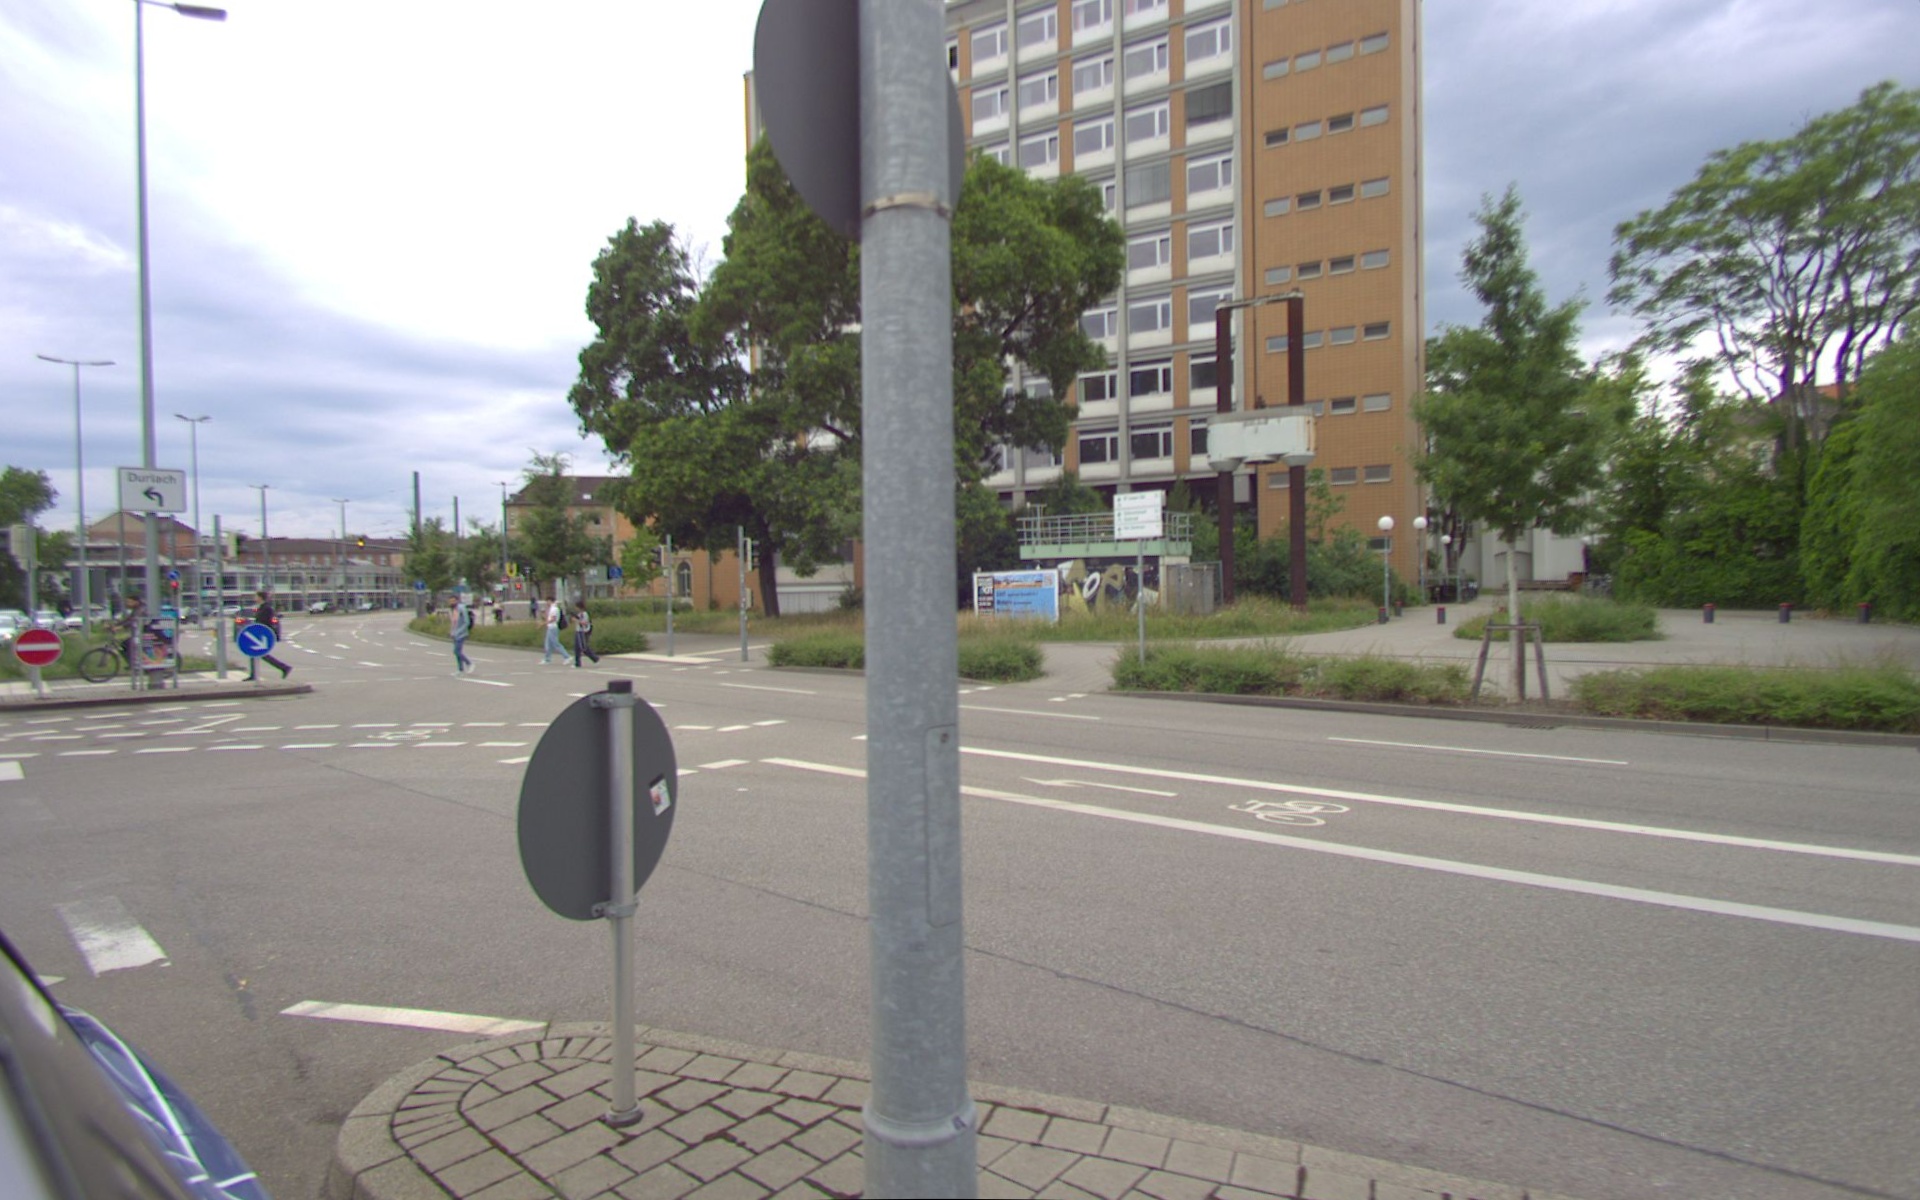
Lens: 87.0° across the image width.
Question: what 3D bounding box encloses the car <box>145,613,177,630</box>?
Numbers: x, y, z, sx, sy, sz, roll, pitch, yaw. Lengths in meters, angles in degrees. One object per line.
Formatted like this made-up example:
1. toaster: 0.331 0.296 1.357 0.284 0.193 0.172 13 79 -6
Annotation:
1. car: -76.097 2.033 96.414 1.583 1.608 3.771 0 -1 -25

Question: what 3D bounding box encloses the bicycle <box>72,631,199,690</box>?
1. bicycle: -17.561 1.268 21.594 0.805 1.151 1.981 -2 -1 37

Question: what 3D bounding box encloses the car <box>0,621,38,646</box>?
1. car: -59.519 2.102 63.376 1.789 1.486 4.045 0 -1 -29

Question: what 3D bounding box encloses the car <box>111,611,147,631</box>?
1. car: -72.381 1.836 88.208 1.583 1.608 3.771 0 -1 -25

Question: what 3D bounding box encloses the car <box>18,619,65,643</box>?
1. car: -63.996 2.171 70.565 1.775 1.608 3.770 0 -1 -32

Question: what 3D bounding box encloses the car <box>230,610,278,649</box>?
1. car: -33.386 1.348 47.904 1.787 1.679 3.959 0 0 -34

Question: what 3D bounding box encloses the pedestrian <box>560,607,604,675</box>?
1. pedestrian: -9.476 1.016 25.372 0.703 1.680 0.771 -1 -1 25

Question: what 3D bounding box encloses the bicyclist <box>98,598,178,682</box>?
1. bicyclist: -17.548 0.838 21.612 0.805 1.749 1.177 -2 -1 37

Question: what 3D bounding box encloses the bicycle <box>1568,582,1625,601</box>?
1. bicycle: 33.134 -0.436 52.708 2.347 0.946 0.843 -2 -1 44

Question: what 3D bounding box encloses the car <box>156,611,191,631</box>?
1. car: -68.413 1.828 88.067 1.583 1.608 3.771 0 -1 -25

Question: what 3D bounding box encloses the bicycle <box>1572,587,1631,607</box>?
1. bicycle: 32.413 -0.164 51.132 0.842 0.946 2.352 0 -1 -38

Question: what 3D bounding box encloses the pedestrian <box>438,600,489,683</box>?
1. pedestrian: -11.096 0.906 22.620 0.905 1.818 0.541 0 -1 -41

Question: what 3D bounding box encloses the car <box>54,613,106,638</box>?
1. car: -67.355 1.976 77.539 1.965 1.829 4.013 0 -1 -24

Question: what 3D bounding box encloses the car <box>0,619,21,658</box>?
1. car: -40.053 1.605 41.683 1.759 1.474 3.877 -3 2 -40

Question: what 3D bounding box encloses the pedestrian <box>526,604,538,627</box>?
1. pedestrian: -31.086 1.110 73.532 0.471 1.633 0.644 -2 -1 41

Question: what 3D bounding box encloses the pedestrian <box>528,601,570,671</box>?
1. pedestrian: -10.866 0.953 26.775 0.733 1.818 0.765 -1 -1 11
